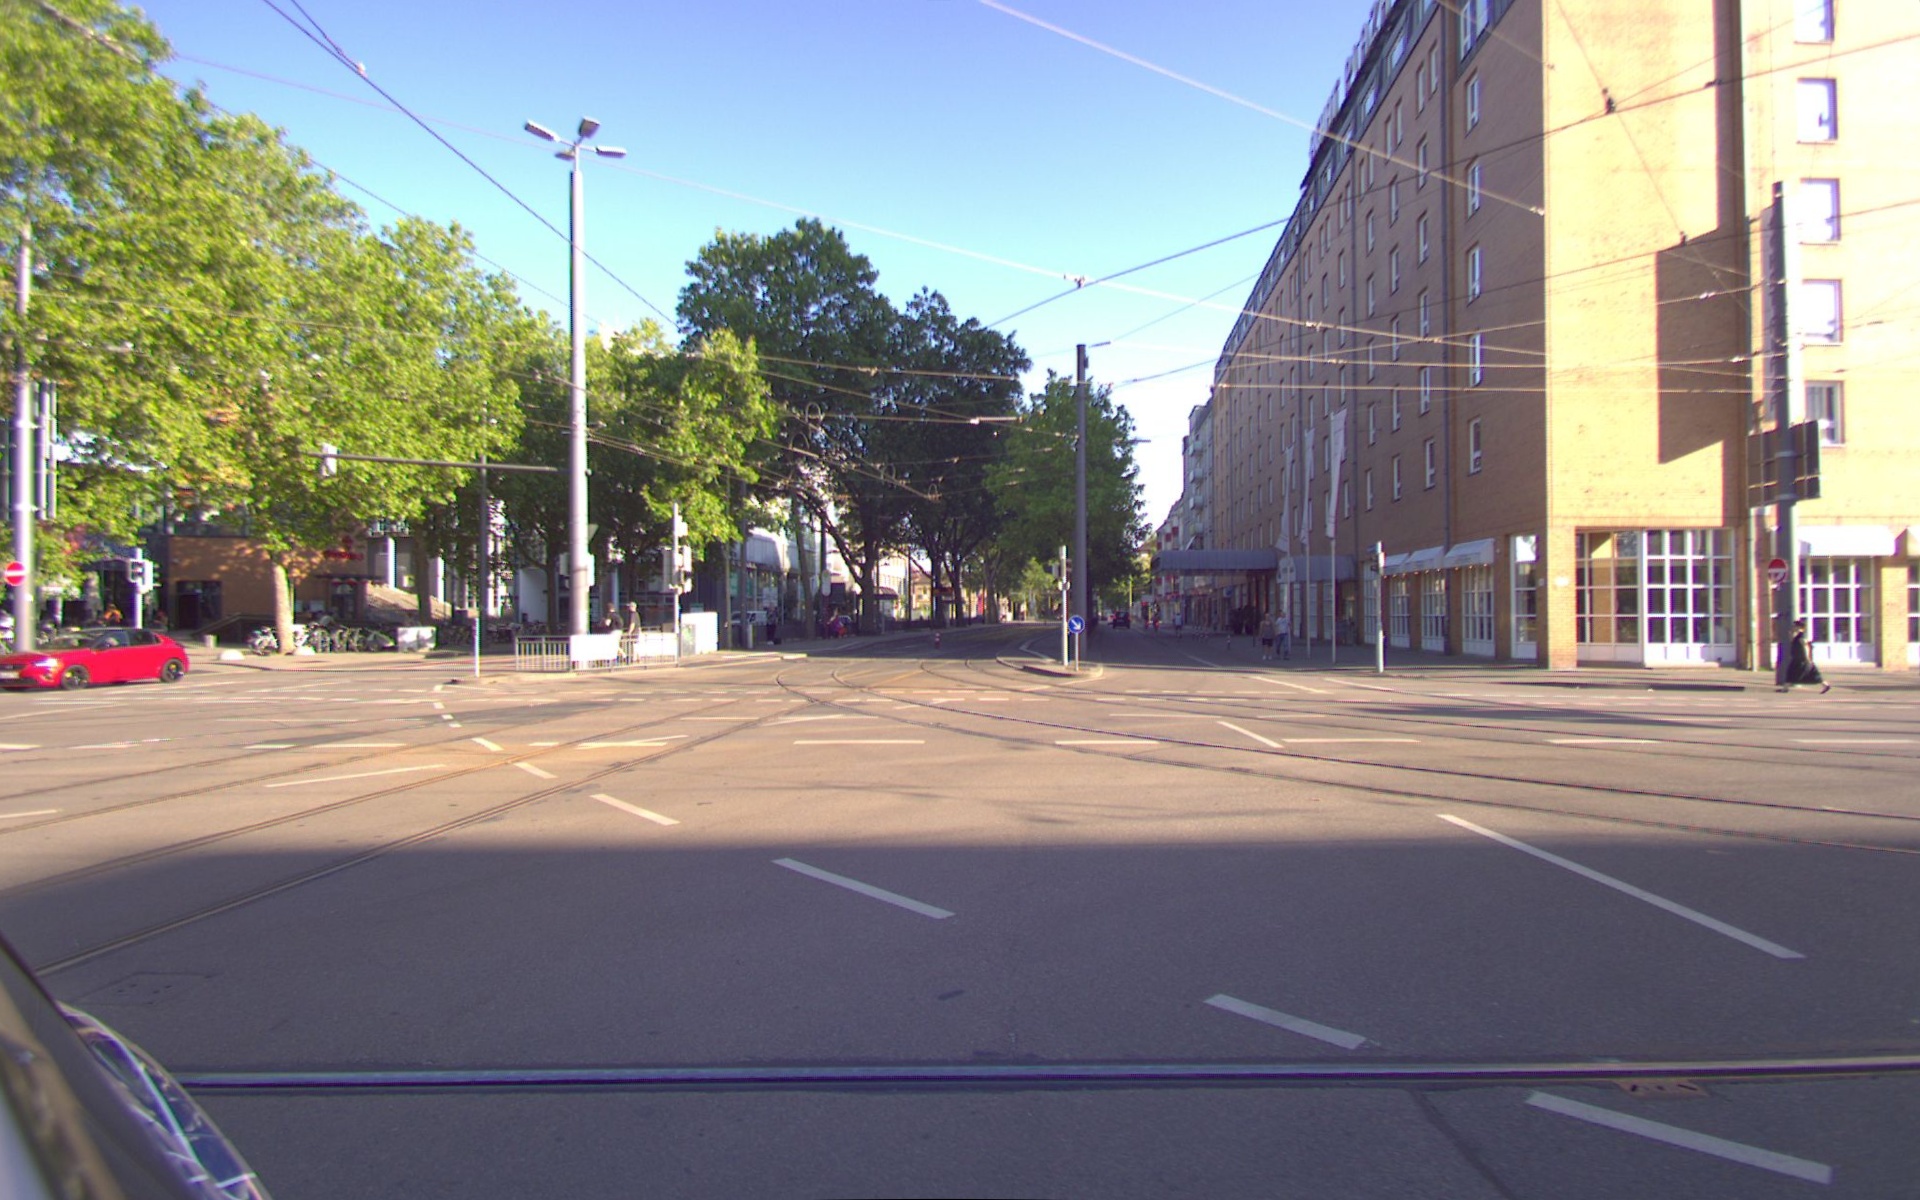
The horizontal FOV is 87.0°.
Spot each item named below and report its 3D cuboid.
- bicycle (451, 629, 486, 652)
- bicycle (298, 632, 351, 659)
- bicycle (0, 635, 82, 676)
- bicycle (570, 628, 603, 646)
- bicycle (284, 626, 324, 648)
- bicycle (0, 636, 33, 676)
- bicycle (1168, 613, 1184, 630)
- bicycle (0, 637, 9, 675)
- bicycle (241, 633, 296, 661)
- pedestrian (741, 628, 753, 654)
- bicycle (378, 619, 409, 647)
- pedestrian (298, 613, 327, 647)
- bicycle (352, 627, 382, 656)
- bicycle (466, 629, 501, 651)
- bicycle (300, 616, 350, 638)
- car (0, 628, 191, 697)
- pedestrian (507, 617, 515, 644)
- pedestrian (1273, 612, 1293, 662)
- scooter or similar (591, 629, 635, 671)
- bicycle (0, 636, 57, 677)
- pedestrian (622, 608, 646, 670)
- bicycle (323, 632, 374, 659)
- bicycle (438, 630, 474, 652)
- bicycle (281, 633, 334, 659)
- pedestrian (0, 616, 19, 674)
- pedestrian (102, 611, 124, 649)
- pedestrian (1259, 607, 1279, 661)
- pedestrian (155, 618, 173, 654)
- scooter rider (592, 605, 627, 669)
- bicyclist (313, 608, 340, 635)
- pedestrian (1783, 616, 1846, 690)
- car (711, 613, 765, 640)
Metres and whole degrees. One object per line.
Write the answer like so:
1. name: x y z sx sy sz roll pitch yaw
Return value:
1. bicycle: -24.738 2.028 50.976 0.572 1.072 1.941 -1 -1 9
2. bicycle: -26.530 1.896 42.282 0.775 1.072 1.941 -1 -1 9
3. bicycle: -27.020 1.621 29.740 0.765 1.138 1.841 0 -1 4
4. bicycle: -23.020 2.262 62.391 1.928 1.072 0.576 -1 -1 15
5. bicycle: -33.889 1.899 52.290 2.001 1.075 0.691 -1 -1 22
6. bicycle: -28.631 1.661 29.871 0.765 1.138 1.841 0 -1 4
7. bicycle: 12.980 1.276 60.845 0.606 1.026 2.151 0 -1 4
8. bicycle: -29.440 1.682 29.948 0.765 1.138 1.841 0 -1 4
9. bicycle: -28.631 1.939 41.944 0.775 1.072 1.941 -1 -1 9
10. pedestrian: -8.545 1.635 40.644 0.400 1.040 0.378 0 -1 2
11. bicycle: -25.843 1.496 46.146 0.771 1.198 3.566 1 -1 -36
12. pedestrian: -30.074 1.382 47.040 0.756 1.554 0.874 0 -1 3
13. bicycle: -26.484 1.828 45.186 0.771 1.198 3.566 1 -1 -36
14. bicycle: -23.929 2.007 50.871 0.572 1.072 1.941 -1 -1 9
15. bicycle: -31.384 1.334 50.020 0.694 1.075 1.991 -1 -1 35
16. car: -20.622 1.408 23.922 1.671 1.439 3.994 -1 -1 4
17. pedestrian: -26.295 1.807 59.219 0.403 1.567 0.449 0 -1 -21
18. pedestrian: 11.553 1.312 36.202 0.643 1.756 0.700 -1 -2 20
19. scooter or similar: -10.044 1.439 29.305 1.149 1.188 0.453 0 -1 14
20. bicycle: -27.828 1.641 29.792 0.765 1.138 1.841 0 -1 4
21. pedestrian: -9.739 1.154 30.221 0.560 1.810 0.674 0 -1 -8
22. bicycle: -25.532 1.873 42.296 0.775 1.072 1.941 -1 -1 9
23. bicycle: -25.489 2.050 51.214 0.572 1.072 1.941 -1 -1 9
24. bicycle: -27.342 1.918 42.438 0.775 1.072 1.941 -1 -1 9
25. pedestrian: -29.885 1.400 31.312 0.724 1.778 0.889 -2 -2 15
26. pedestrian: -38.313 1.346 45.787 0.540 1.682 0.566 -1 -1 23
27. pedestrian: 11.117 1.224 36.394 0.643 1.909 0.740 -1 -1 20
28. pedestrian: -37.829 1.691 48.071 0.570 1.682 0.537 -1 -2 38
29. scooter rider: -10.159 1.073 29.356 0.756 1.847 0.586 0 -1 14
30. bicyclist: -31.348 1.062 50.071 0.673 1.355 0.947 -1 -1 35
31. pedestrian: 18.501 1.136 21.912 0.536 1.565 0.872 0 -1 -27
32. car: -17.019 2.032 77.975 1.955 1.960 4.939 -1 -1 16
